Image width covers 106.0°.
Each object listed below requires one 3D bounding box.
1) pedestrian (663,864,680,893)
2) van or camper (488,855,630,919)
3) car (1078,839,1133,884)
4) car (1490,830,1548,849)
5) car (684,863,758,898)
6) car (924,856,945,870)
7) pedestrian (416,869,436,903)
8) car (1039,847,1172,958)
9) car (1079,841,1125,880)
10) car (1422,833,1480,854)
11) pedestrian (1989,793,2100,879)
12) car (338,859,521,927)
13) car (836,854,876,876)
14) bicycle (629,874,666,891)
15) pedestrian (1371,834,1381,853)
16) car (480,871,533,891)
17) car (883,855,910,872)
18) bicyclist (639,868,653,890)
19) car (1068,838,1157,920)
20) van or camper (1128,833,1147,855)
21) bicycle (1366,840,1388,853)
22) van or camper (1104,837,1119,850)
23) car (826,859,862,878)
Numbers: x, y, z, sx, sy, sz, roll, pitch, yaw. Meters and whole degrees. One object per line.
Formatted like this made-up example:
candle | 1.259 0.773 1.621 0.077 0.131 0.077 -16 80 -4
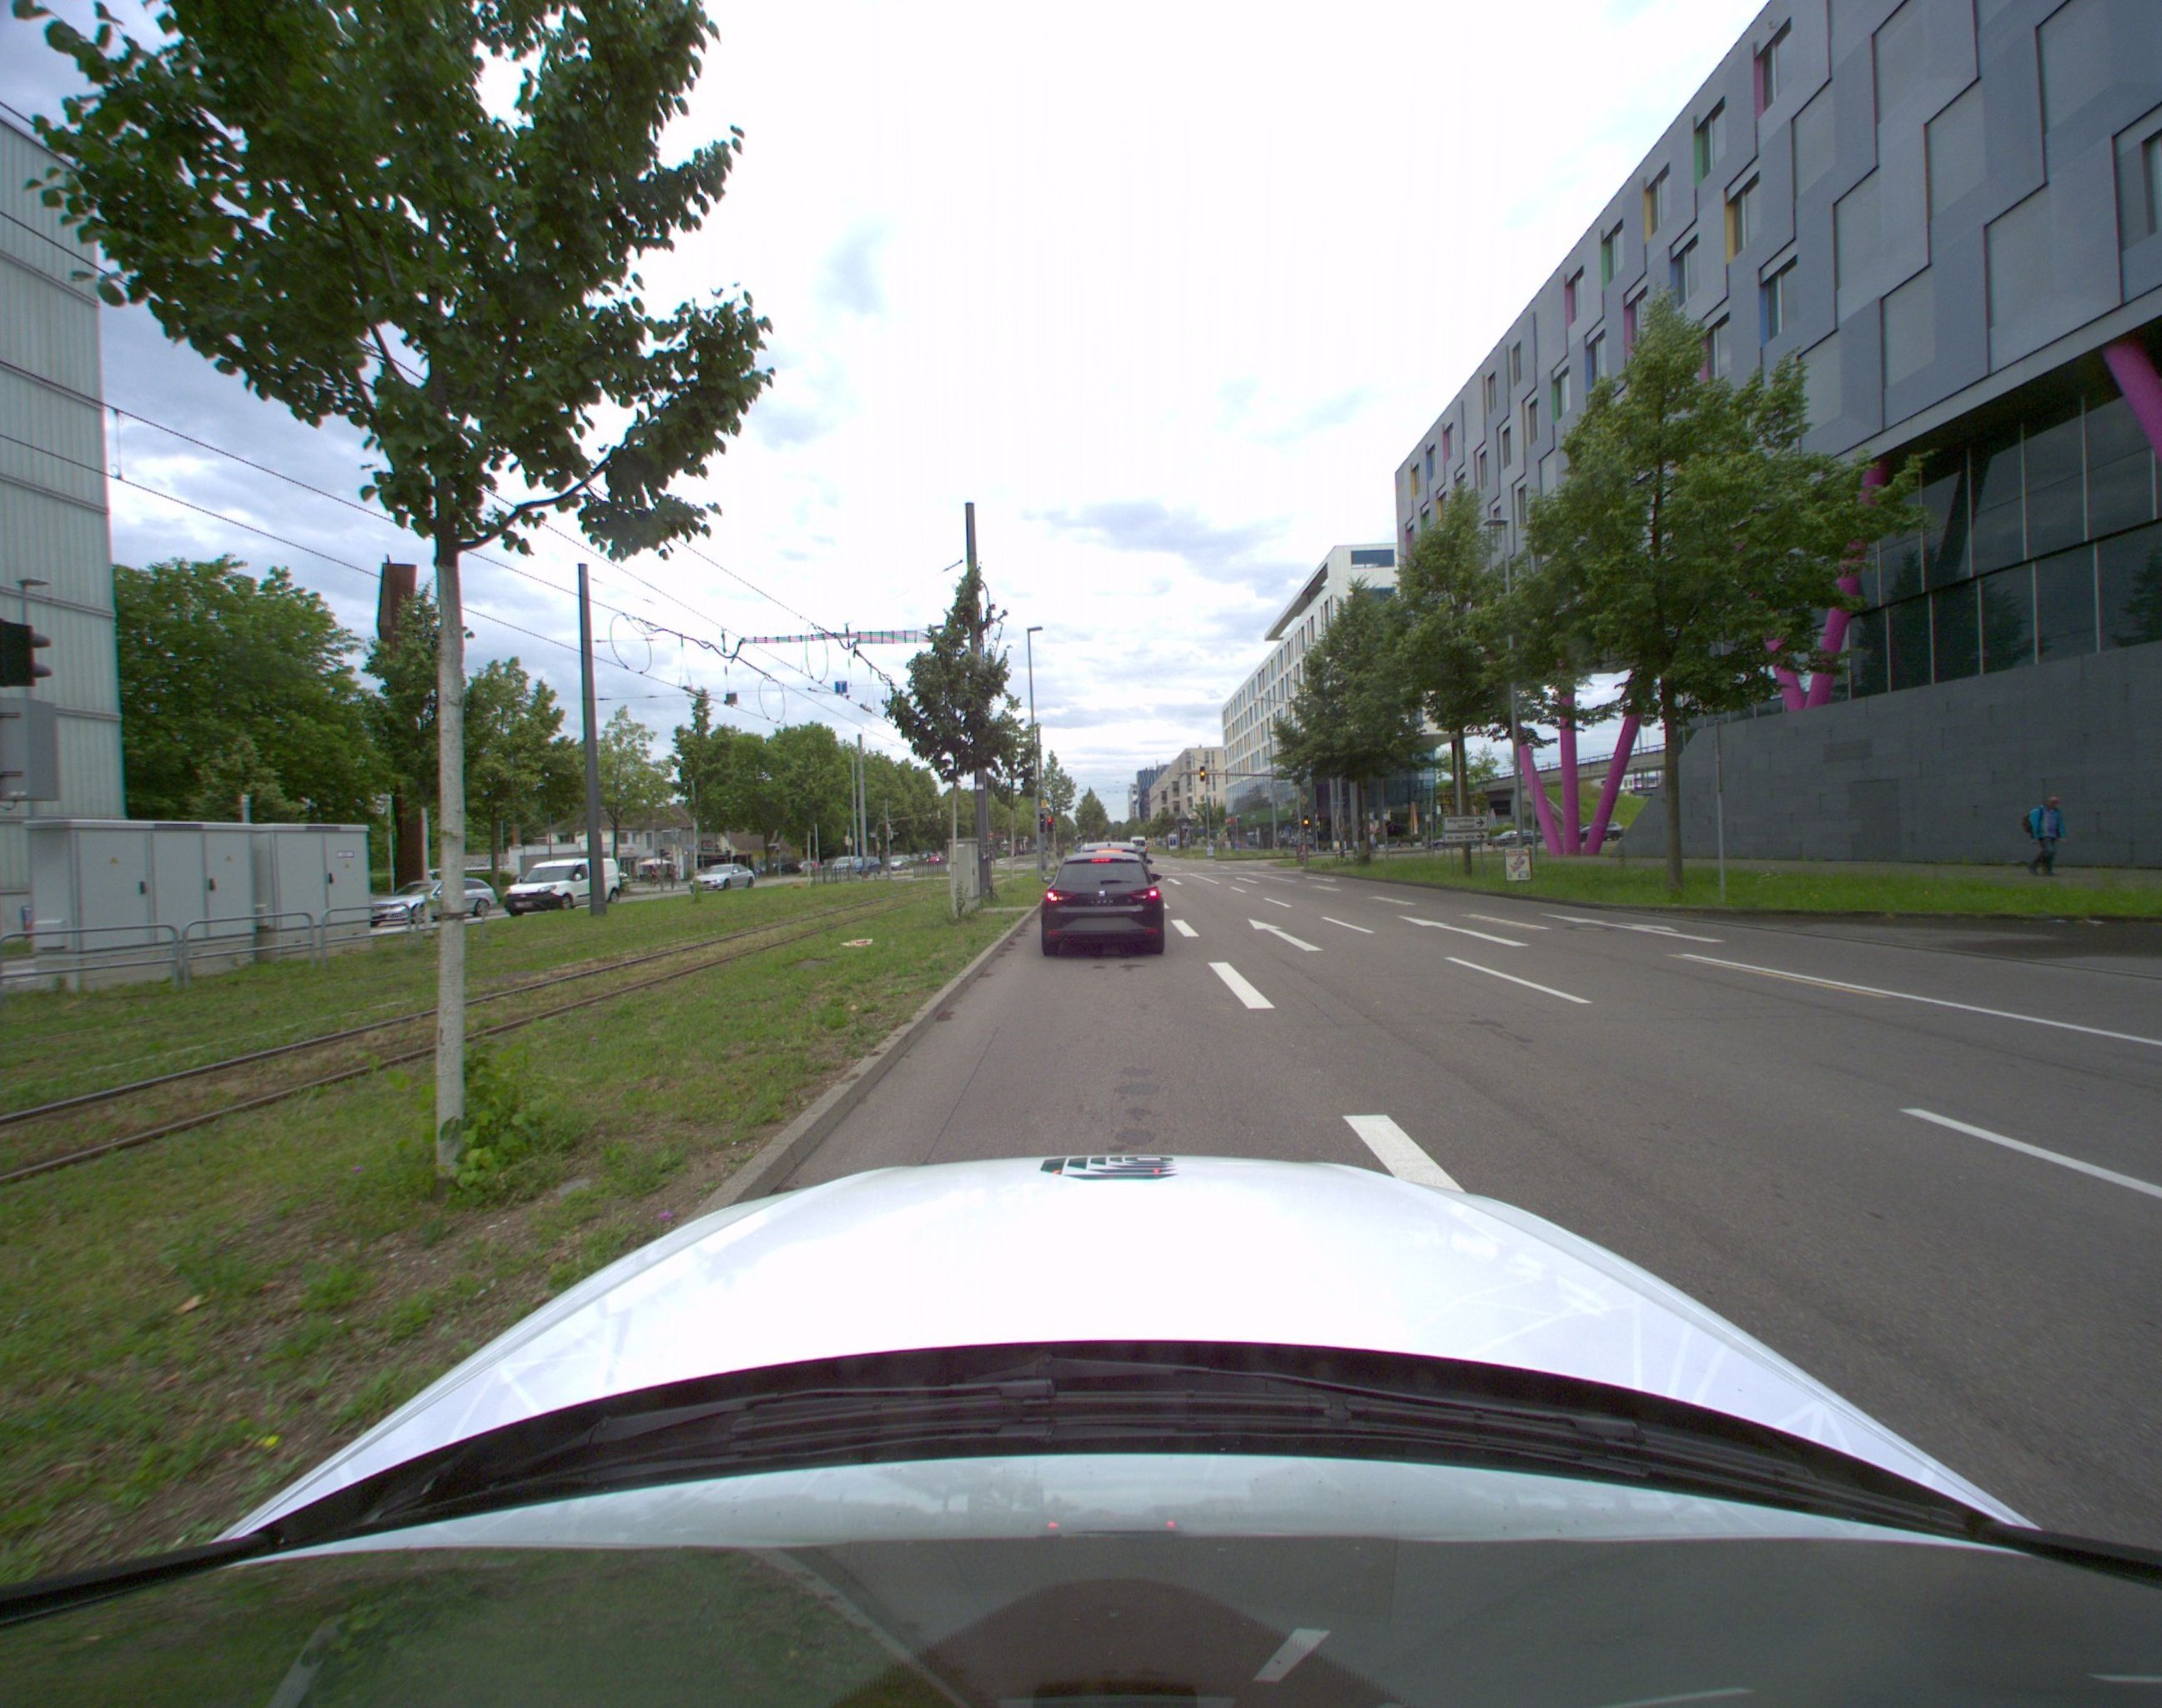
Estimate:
pedestrian | -27.380 1.639 54.427 0.779 1.832 0.771 -2 1 -16
van or camper | -18.081 1.045 28.567 1.886 1.900 5.116 -3 1 -5
car | 1.069 0.247 32.955 1.984 1.681 4.006 -1 1 5
car | 38.165 -1.239 71.072 4.063 1.455 1.760 -2 0 3
car | -18.663 1.311 42.448 1.724 1.445 4.918 -4 1 -3
car | -19.144 1.142 106.634 1.789 1.570 4.331 -2 1 3
pedestrian | -40.235 1.945 50.020 0.910 2.013 0.942 -3 0 -40
car | 0.365 0.630 12.776 1.737 1.417 4.001 -1 1 1
car | 1.041 0.254 38.454 1.985 1.681 4.005 -1 1 4
car | 32.151 -0.909 70.905 4.233 1.614 1.760 -2 0 3
pedestrian | 21.012 -0.384 17.793 1.047 1.770 1.138 -2 1 2
car | -22.869 1.279 28.951 1.986 2.013 5.298 -2 1 2
car | -18.295 0.889 66.408 1.958 1.588 4.687 -2 1 -1
bicycle | -35.253 2.305 66.288 2.520 1.202 0.734 -3 1 -25
pedestrian | 26.450 -0.934 73.055 0.612 1.604 0.619 -2 0 4
car | -59.294 2.739 84.113 3.969 1.848 2.003 -2 0 4
car | -19.518 0.993 86.465 1.715 1.643 4.674 -2 1 0
bicyclist | -35.369 2.038 66.243 0.854 1.721 0.715 -3 1 -25
car | 0.722 0.493 18.901 1.796 1.624 4.002 -2 1 2
van or camper | 6.587 -1.157 95.269 2.101 2.355 4.927 -2 2 2
bicycle | 26.546 -0.677 73.053 1.784 1.085 0.618 -2 0 3
van or camper | 4.252 -1.493 113.686 1.986 1.615 4.792 -2 2 2
car | -20.761 1.264 71.427 1.790 1.570 4.578 0 0 0
